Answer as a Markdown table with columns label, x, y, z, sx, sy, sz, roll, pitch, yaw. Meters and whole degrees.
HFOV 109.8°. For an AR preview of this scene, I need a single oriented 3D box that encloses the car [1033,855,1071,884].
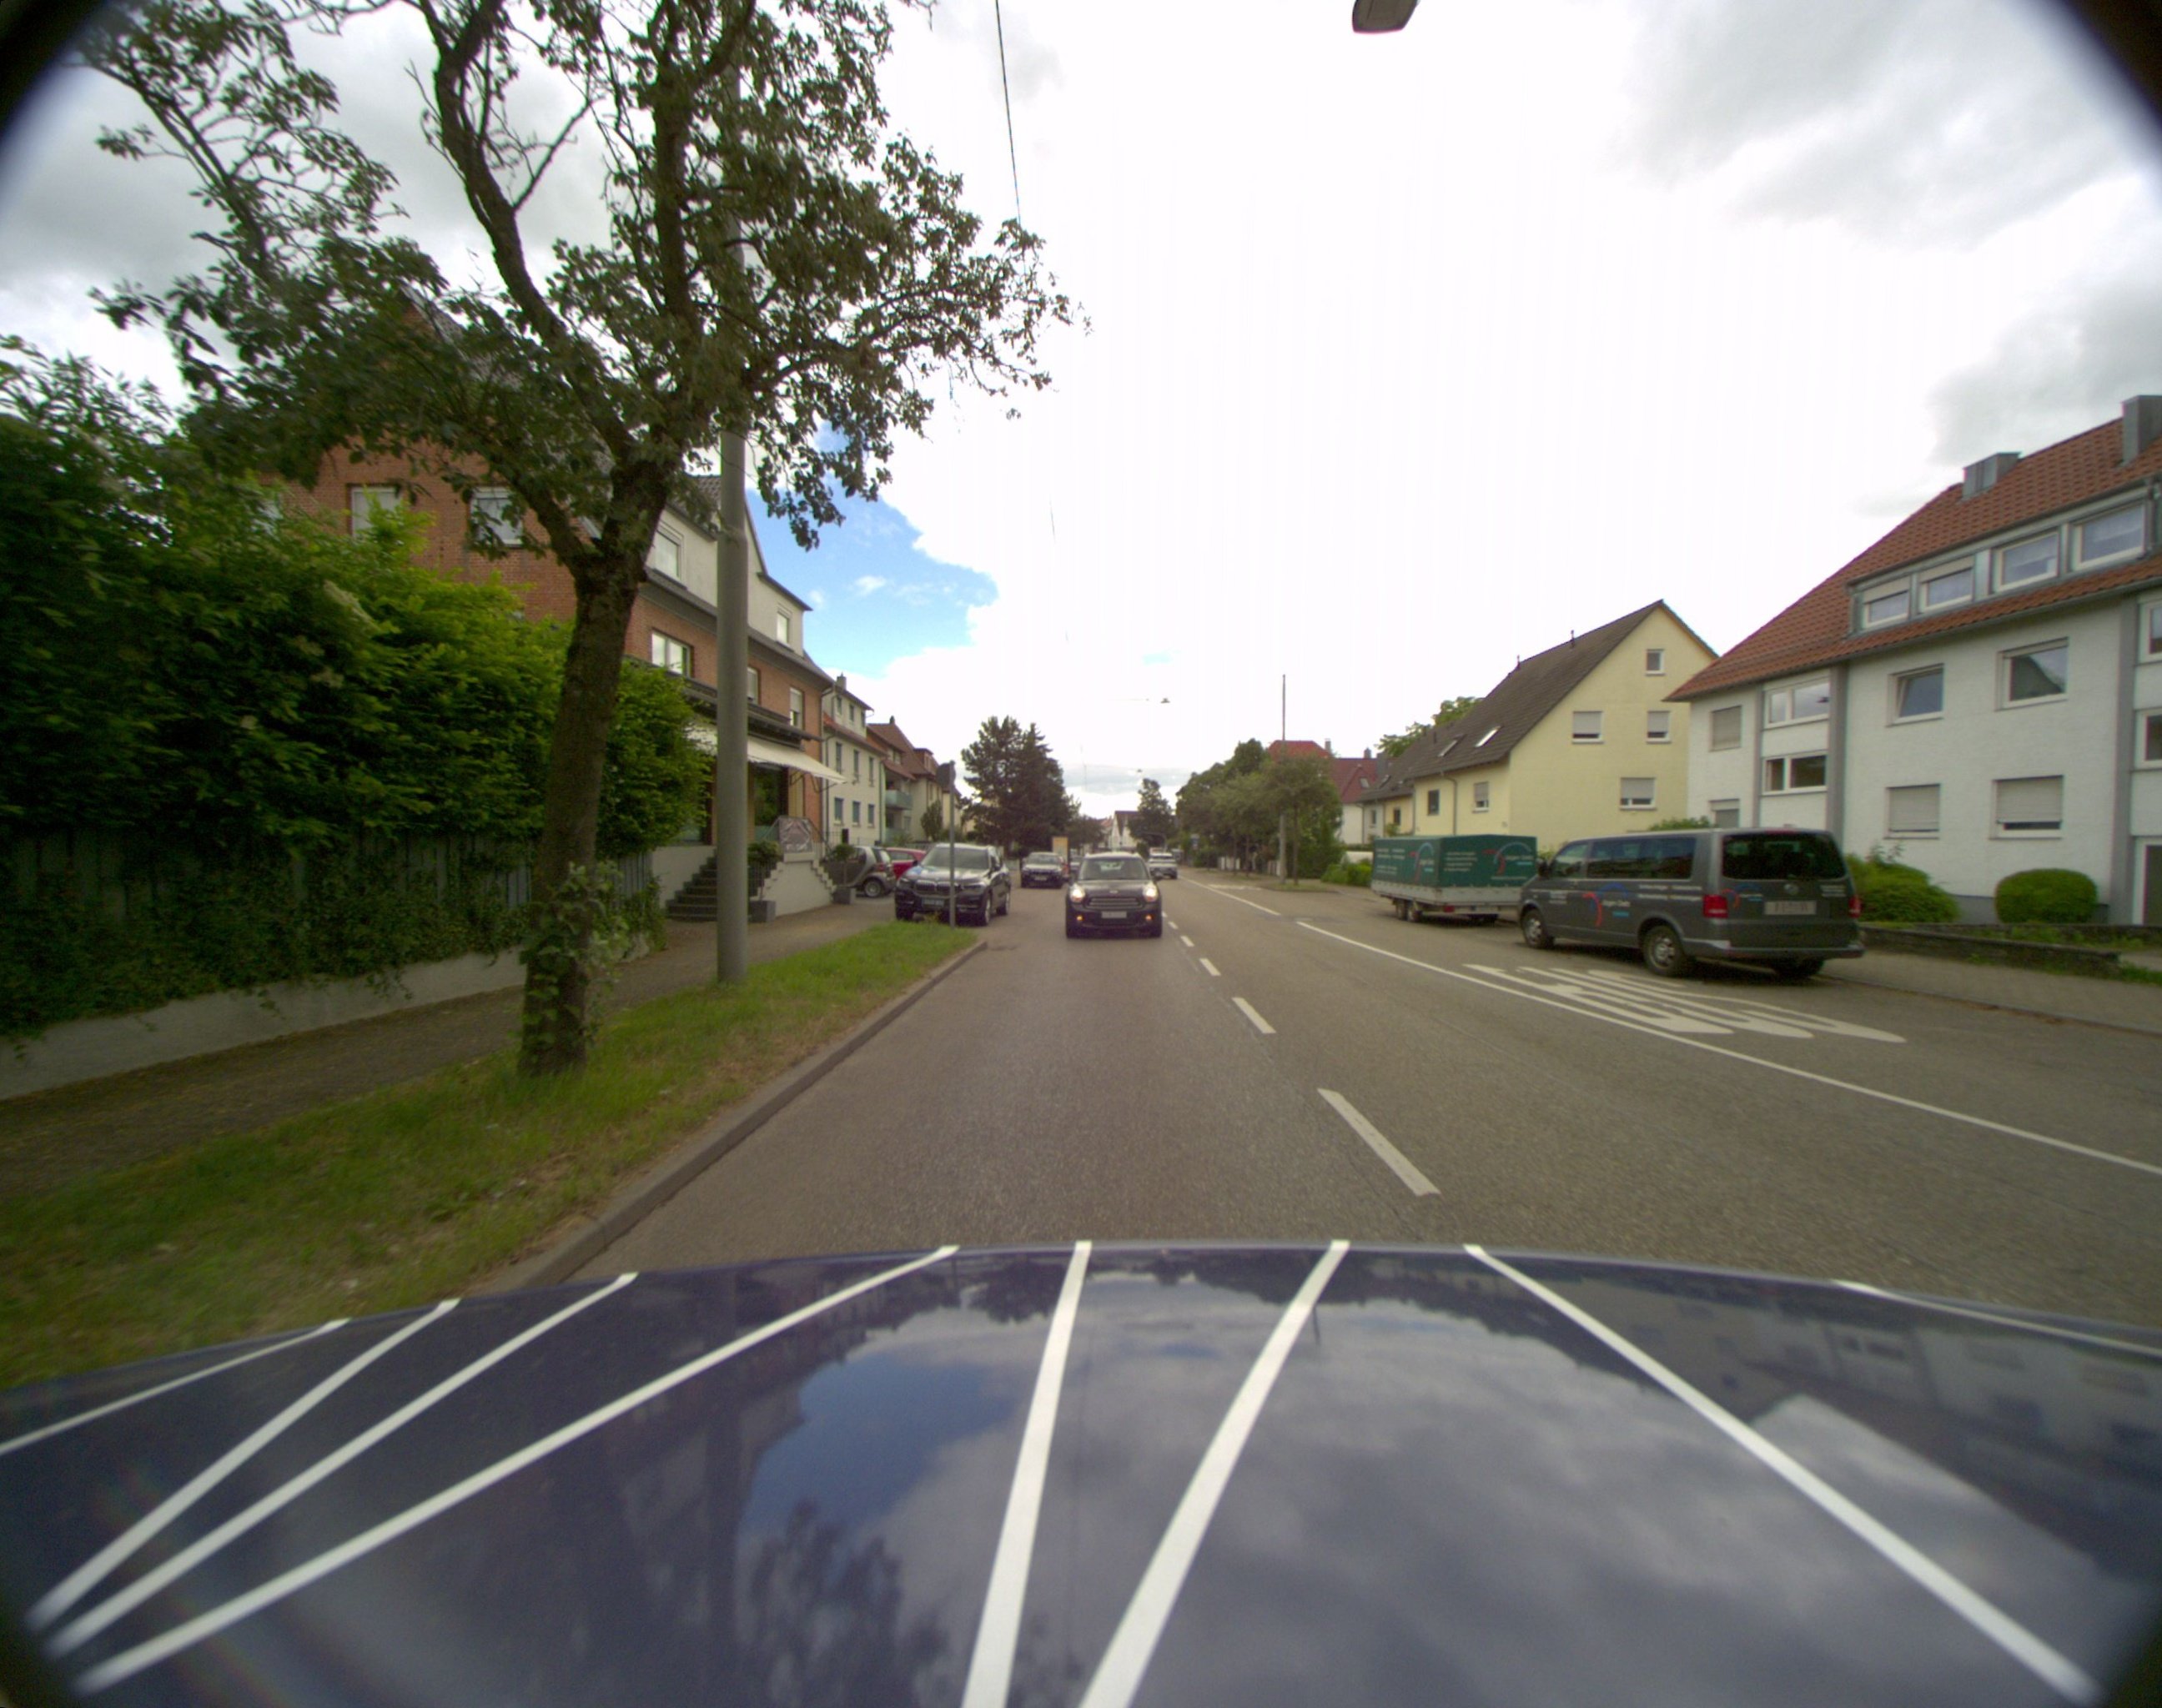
| label | x | y | z | sx | sy | sz | roll | pitch | yaw |
| --- | --- | --- | --- | --- | --- | --- | --- | --- | --- |
| car | -1.470 | 0.765 | 39.510 | 1.680 | 1.414 | 3.685 | 0 | 0 | 3 |

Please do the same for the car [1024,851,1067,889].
| label | x | y | z | sx | sy | sz | roll | pitch | yaw |
| --- | --- | --- | --- | --- | --- | --- | --- | --- | --- |
| car | -1.577 | 0.694 | 34.944 | 1.728 | 1.582 | 4.157 | 2 | 0 | 0 |

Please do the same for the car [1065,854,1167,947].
| label | x | y | z | sx | sy | sz | roll | pitch | yaw |
| --- | --- | --- | --- | --- | --- | --- | --- | --- | --- |
| car | 0.693 | 0.811 | 15.004 | 1.743 | 1.573 | 3.685 | 0 | 0 | 3 |

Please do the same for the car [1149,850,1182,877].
| label | x | y | z | sx | sy | sz | roll | pitch | yaw |
| --- | --- | --- | --- | --- | --- | --- | --- | --- | --- |
| car | 5.304 | 0.579 | 48.052 | 1.825 | 1.594 | 4.299 | 0 | 0 | 3 |

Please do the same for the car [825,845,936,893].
| label | x | y | z | sx | sy | sz | roll | pitch | yaw |
| --- | --- | --- | --- | --- | --- | --- | --- | --- | --- |
| car | -6.817 | 0.499 | 26.128 | 3.362 | 1.450 | 1.748 | 3 | 0 | -5 |

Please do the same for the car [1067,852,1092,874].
| label | x | y | z | sx | sy | sz | roll | pitch | yaw |
| --- | --- | --- | --- | --- | --- | --- | --- | --- | --- |
| car | -0.113 | 0.681 | 57.670 | 1.680 | 1.573 | 3.685 | 0 | 0 | 3 |

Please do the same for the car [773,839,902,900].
| label | x | y | z | sx | sy | sz | roll | pitch | yaw |
| --- | --- | --- | --- | --- | --- | --- | --- | --- | --- |
| car | -7.335 | 0.453 | 23.142 | 3.361 | 1.624 | 1.580 | 3 | 0 | -2 |

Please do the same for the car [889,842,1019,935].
| label | x | y | z | sx | sy | sz | roll | pitch | yaw |
| --- | --- | --- | --- | --- | --- | --- | --- | --- | --- |
| car | -2.757 | 0.680 | 17.703 | 1.902 | 1.826 | 4.916 | 1 | 0 | 4 |

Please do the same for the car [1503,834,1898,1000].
| label | x | y | z | sx | sy | sz | roll | pitch | yaw |
| --- | --- | --- | --- | --- | --- | --- | --- | --- | --- |
| car | 8.641 | 0.733 | 11.391 | 1.998 | 1.938 | 4.898 | 0 | 0 | 2 |

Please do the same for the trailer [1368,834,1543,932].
| label | x | y | z | sx | sy | sz | roll | pitch | yaw |
| --- | --- | --- | --- | --- | --- | --- | --- | --- | --- |
| trailer | 8.850 | 0.620 | 18.486 | 2.160 | 2.076 | 4.426 | 0 | 0 | 1 |

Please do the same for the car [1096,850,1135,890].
| label | x | y | z | sx | sy | sz | roll | pitch | yaw |
| --- | --- | --- | --- | --- | --- | --- | --- | --- | --- |
| car | 1.501 | 0.645 | 32.717 | 1.590 | 1.598 | 3.685 | 0 | 0 | 3 |
